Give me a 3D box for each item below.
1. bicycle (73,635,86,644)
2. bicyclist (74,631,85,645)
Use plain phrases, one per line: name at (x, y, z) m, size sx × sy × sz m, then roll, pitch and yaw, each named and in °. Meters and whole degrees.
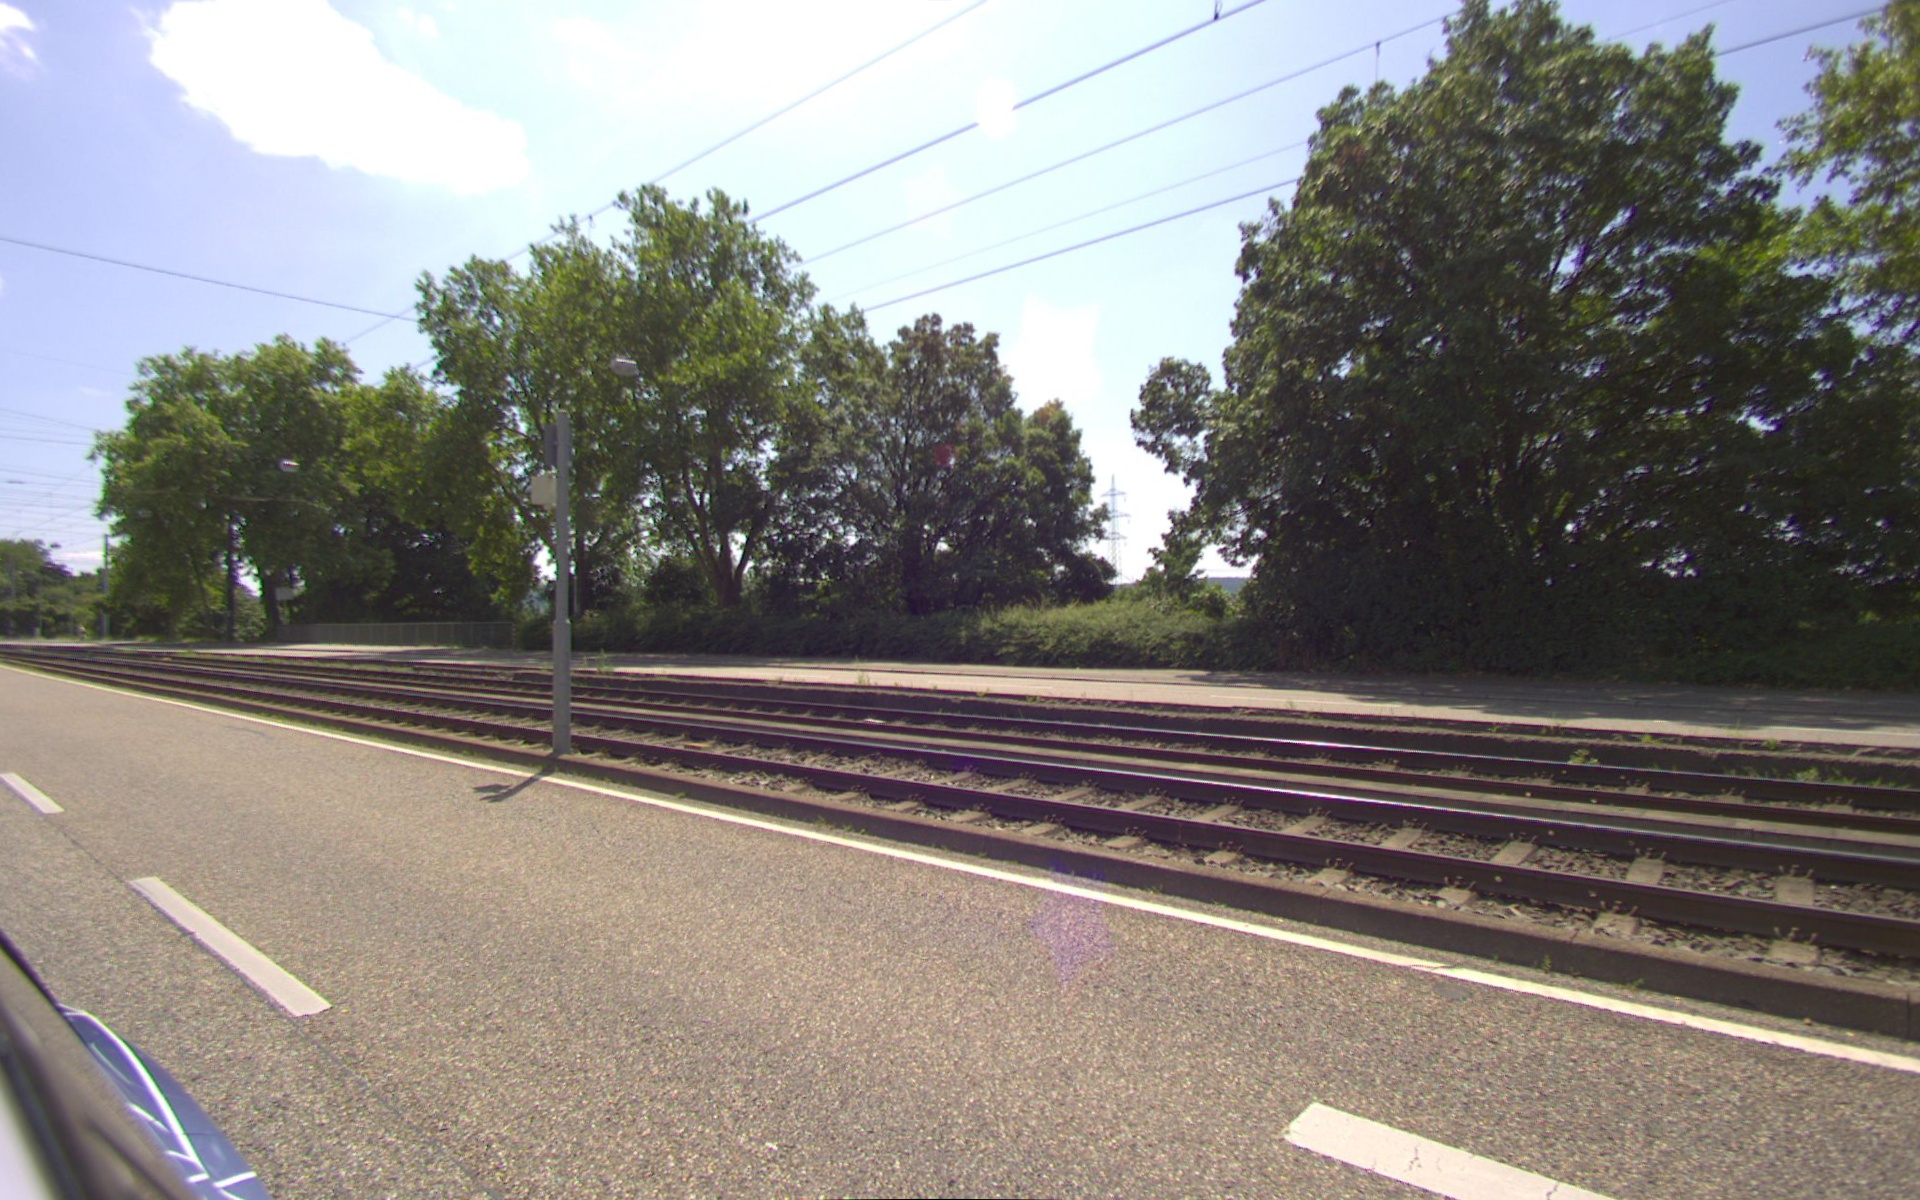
bicycle at (-92.592, 4.187, 106.420) m, size 2.181 × 0.924 × 0.704 m, roll -1°, pitch -1°, yaw 40°
bicyclist at (-92.545, 4.017, 106.394) m, size 0.917 × 1.495 × 0.704 m, roll -1°, pitch -1°, yaw 39°
